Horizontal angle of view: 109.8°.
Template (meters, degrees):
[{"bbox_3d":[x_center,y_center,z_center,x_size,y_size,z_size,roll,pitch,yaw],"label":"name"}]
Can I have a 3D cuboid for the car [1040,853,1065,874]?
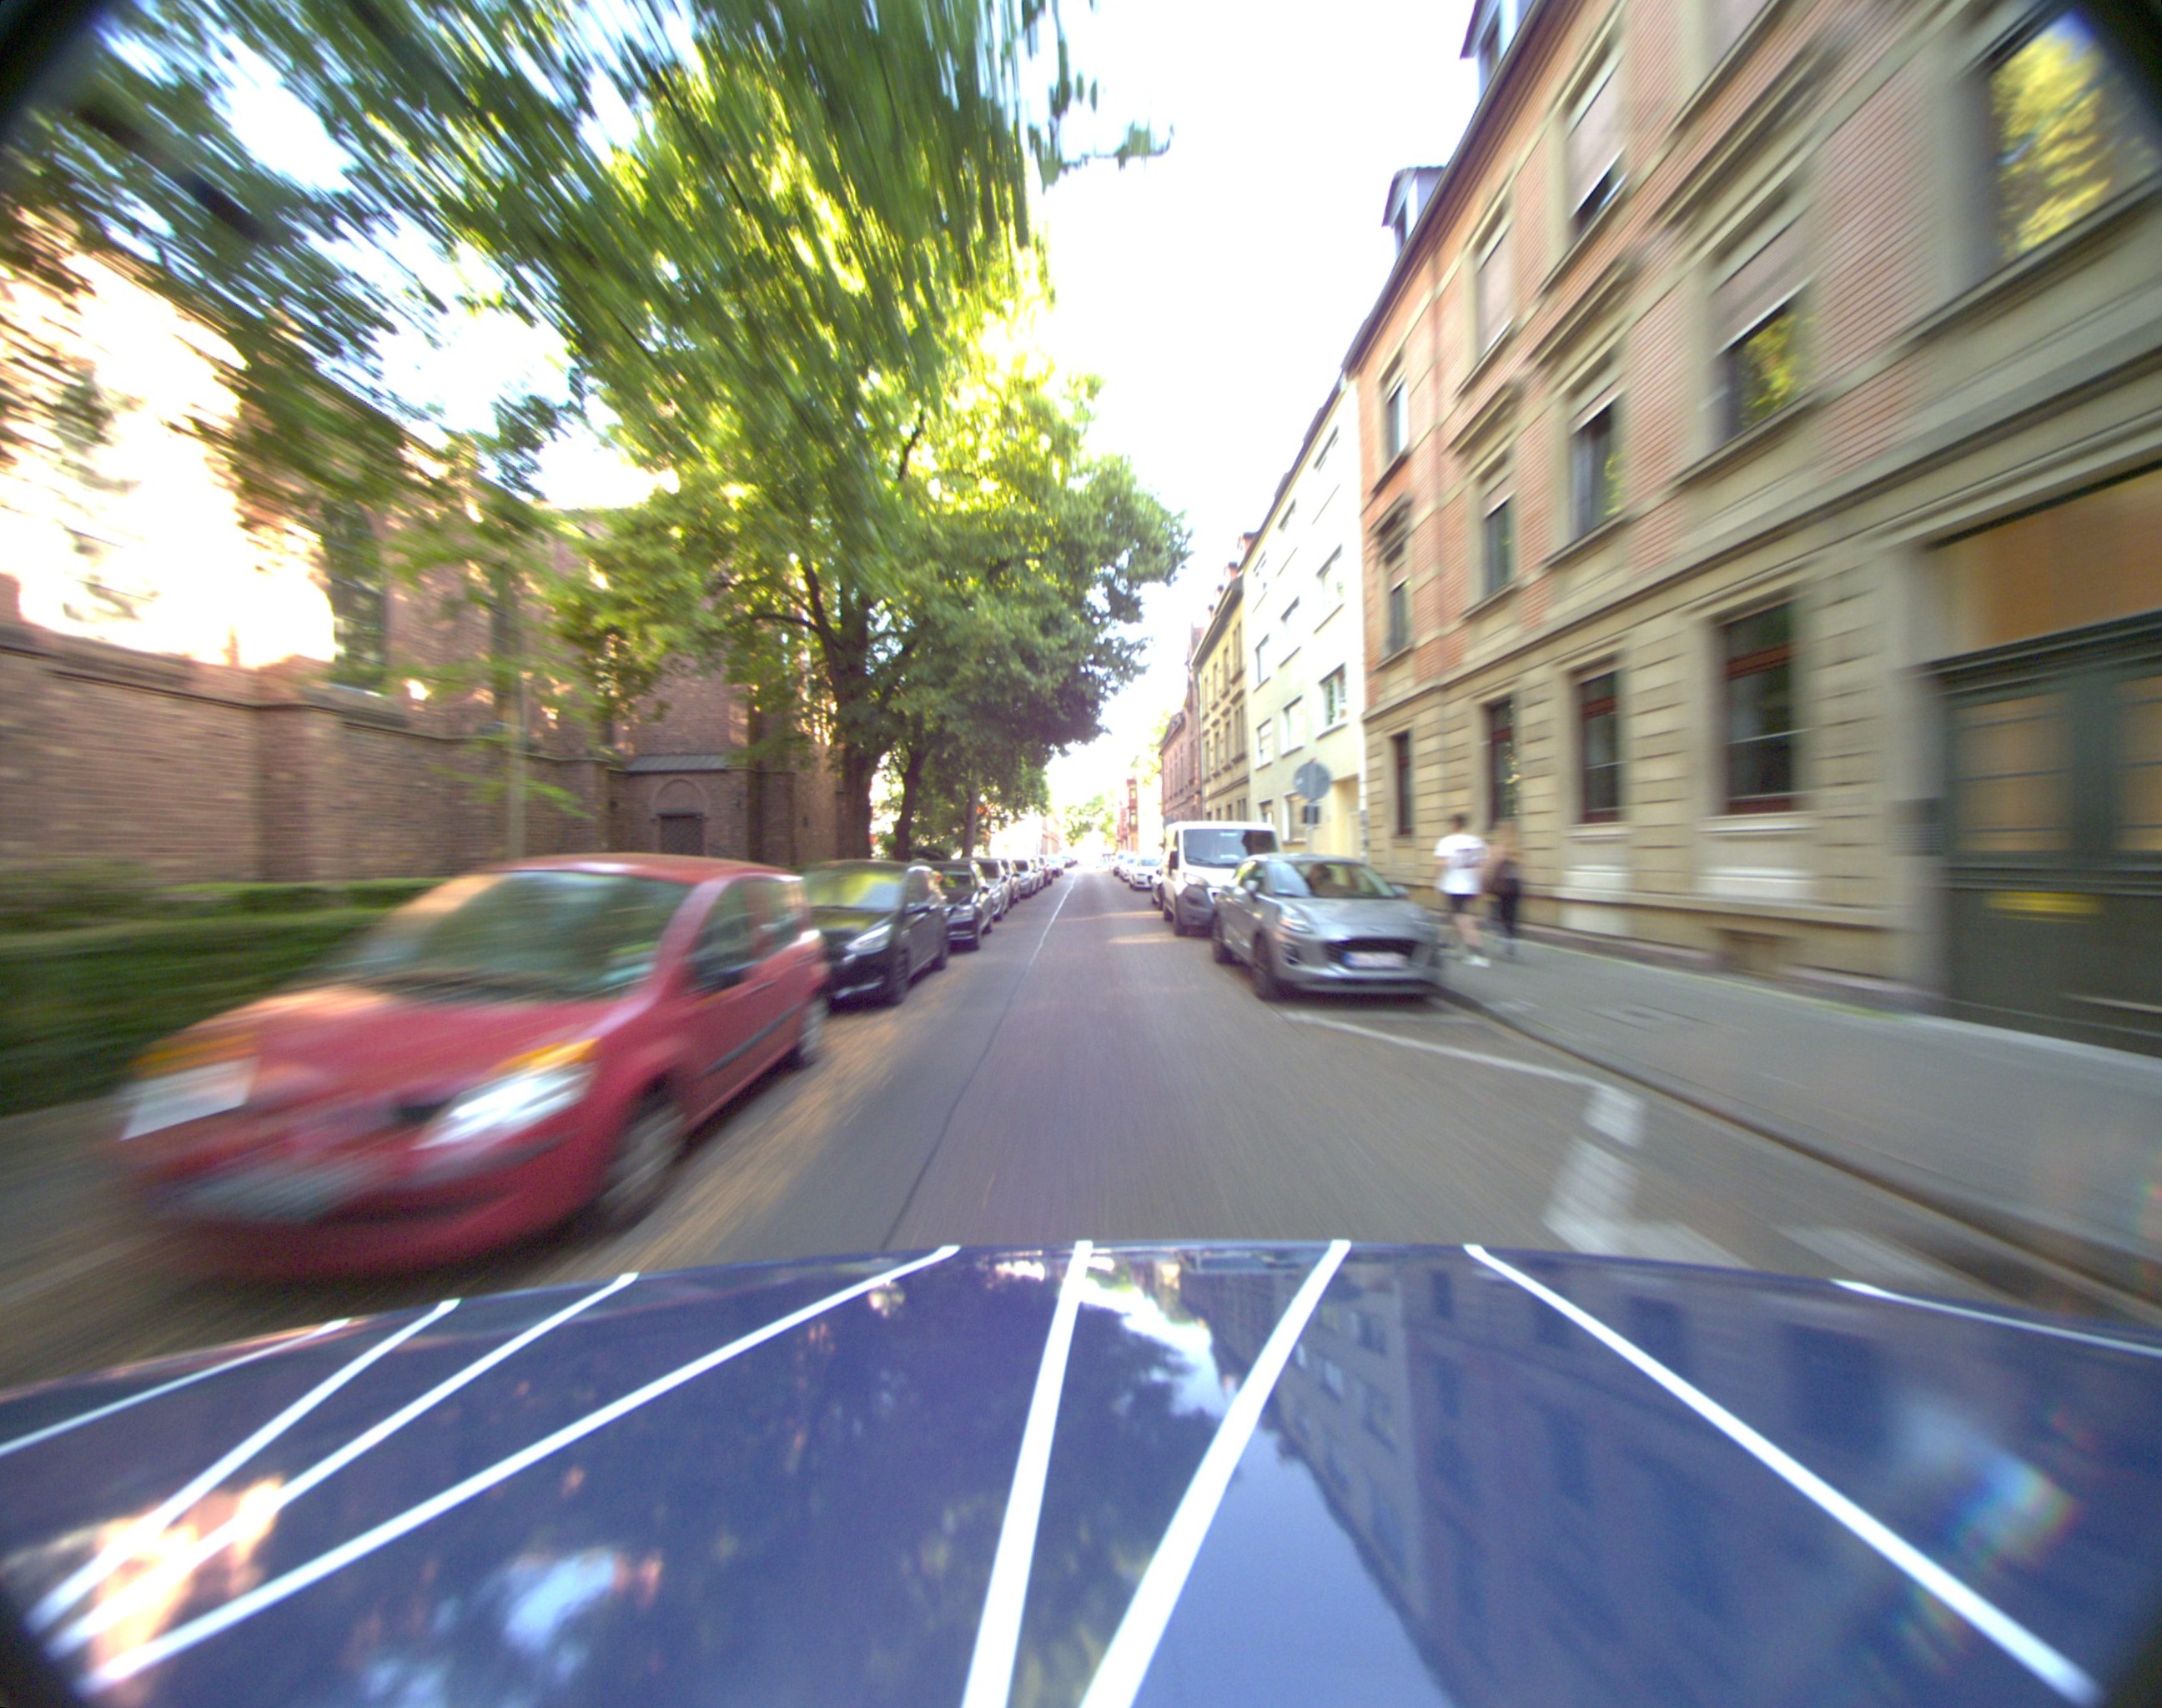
[{"bbox_3d":[-1.986,0.656,54.065,1.625,1.428,4.002,0,1,-1],"label":"car"}]

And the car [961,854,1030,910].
[{"bbox_3d":[-2.617,0.817,23.967,1.603,1.460,3.563,3,1,1],"label":"car"}]

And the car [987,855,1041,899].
[{"bbox_3d":[-2.462,0.818,28.682,1.603,1.462,3.869,1,1,1],"label":"car"}]

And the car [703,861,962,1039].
[{"bbox_3d":[-2.647,0.920,9.040,1.622,1.478,3.776,3,1,3],"label":"car"}]

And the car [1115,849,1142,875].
[{"bbox_3d":[3.284,0.504,53.114,1.713,1.665,4.277,1,1,2],"label":"car"}]

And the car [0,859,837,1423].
[{"bbox_3d":[-2.749,0.936,4.294,1.623,1.615,3.861,3,1,-3],"label":"car"}]

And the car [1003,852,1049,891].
[{"bbox_3d":[-2.386,0.732,33.711,1.603,1.497,3.720,3,1,1],"label":"car"}]

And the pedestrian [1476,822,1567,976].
[{"bbox_3d":[5.280,0.519,9.141,0.703,1.762,0.649,-2,2,1],"label":"pedestrian"}]

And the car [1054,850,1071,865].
[{"bbox_3d":[-2.095,0.383,88.331,1.845,1.643,4.000,0,0,1],"label":"car"}]

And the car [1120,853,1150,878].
[{"bbox_3d":[3.318,0.690,47.067,1.713,1.409,3.803,1,1,2],"label":"car"}]

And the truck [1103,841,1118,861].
[{"bbox_3d":[4.091,-0.439,107.471,1.971,2.643,5.884,0,0,1],"label":"truck"}]

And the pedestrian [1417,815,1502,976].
[{"bbox_3d":[4.632,0.481,9.340,0.580,1.872,0.904,-2,2,1],"label":"pedestrian"}]

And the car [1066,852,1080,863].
[{"bbox_3d":[-1.290,0.478,120.125,1.998,1.659,4.000,-1,0,2],"label":"car"}]

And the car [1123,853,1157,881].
[{"bbox_3d":[3.259,0.688,42.400,1.713,1.409,3.803,1,1,2],"label":"car"}]

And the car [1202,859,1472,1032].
[{"bbox_3d":[2.674,0.853,9.042,1.771,1.505,4.193,1,0,0],"label":"car"}]

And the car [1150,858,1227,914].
[{"bbox_3d":[2.952,0.830,21.653,1.735,1.394,4.315,1,0,2],"label":"car"}]

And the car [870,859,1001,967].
[{"bbox_3d":[-2.466,0.927,13.953,1.680,1.433,4.693,3,1,-3],"label":"car"}]

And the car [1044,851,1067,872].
[{"bbox_3d":[-1.974,0.587,59.434,1.713,1.511,3.830,0,1,-1],"label":"car"}]

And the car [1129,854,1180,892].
[{"bbox_3d":[3.024,0.736,32.125,1.735,1.447,4.521,1,0,1],"label":"car"}]

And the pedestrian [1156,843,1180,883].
[{"bbox_3d":[4.075,0.427,35.673,0.490,1.793,1.113,-4,1,-29],"label":"pedestrian"}]

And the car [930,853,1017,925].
[{"bbox_3d":[-2.601,0.805,19.130,1.603,1.497,3.627,3,1,0],"label":"car"}]

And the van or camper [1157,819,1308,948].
[{"bbox_3d":[2.795,0.478,15.358,2.182,2.135,5.154,1,0,2],"label":"van or camper"}]

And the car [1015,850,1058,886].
[{"bbox_3d":[-2.202,0.642,38.485,1.668,1.577,4.100,3,1,3],"label":"car"}]
